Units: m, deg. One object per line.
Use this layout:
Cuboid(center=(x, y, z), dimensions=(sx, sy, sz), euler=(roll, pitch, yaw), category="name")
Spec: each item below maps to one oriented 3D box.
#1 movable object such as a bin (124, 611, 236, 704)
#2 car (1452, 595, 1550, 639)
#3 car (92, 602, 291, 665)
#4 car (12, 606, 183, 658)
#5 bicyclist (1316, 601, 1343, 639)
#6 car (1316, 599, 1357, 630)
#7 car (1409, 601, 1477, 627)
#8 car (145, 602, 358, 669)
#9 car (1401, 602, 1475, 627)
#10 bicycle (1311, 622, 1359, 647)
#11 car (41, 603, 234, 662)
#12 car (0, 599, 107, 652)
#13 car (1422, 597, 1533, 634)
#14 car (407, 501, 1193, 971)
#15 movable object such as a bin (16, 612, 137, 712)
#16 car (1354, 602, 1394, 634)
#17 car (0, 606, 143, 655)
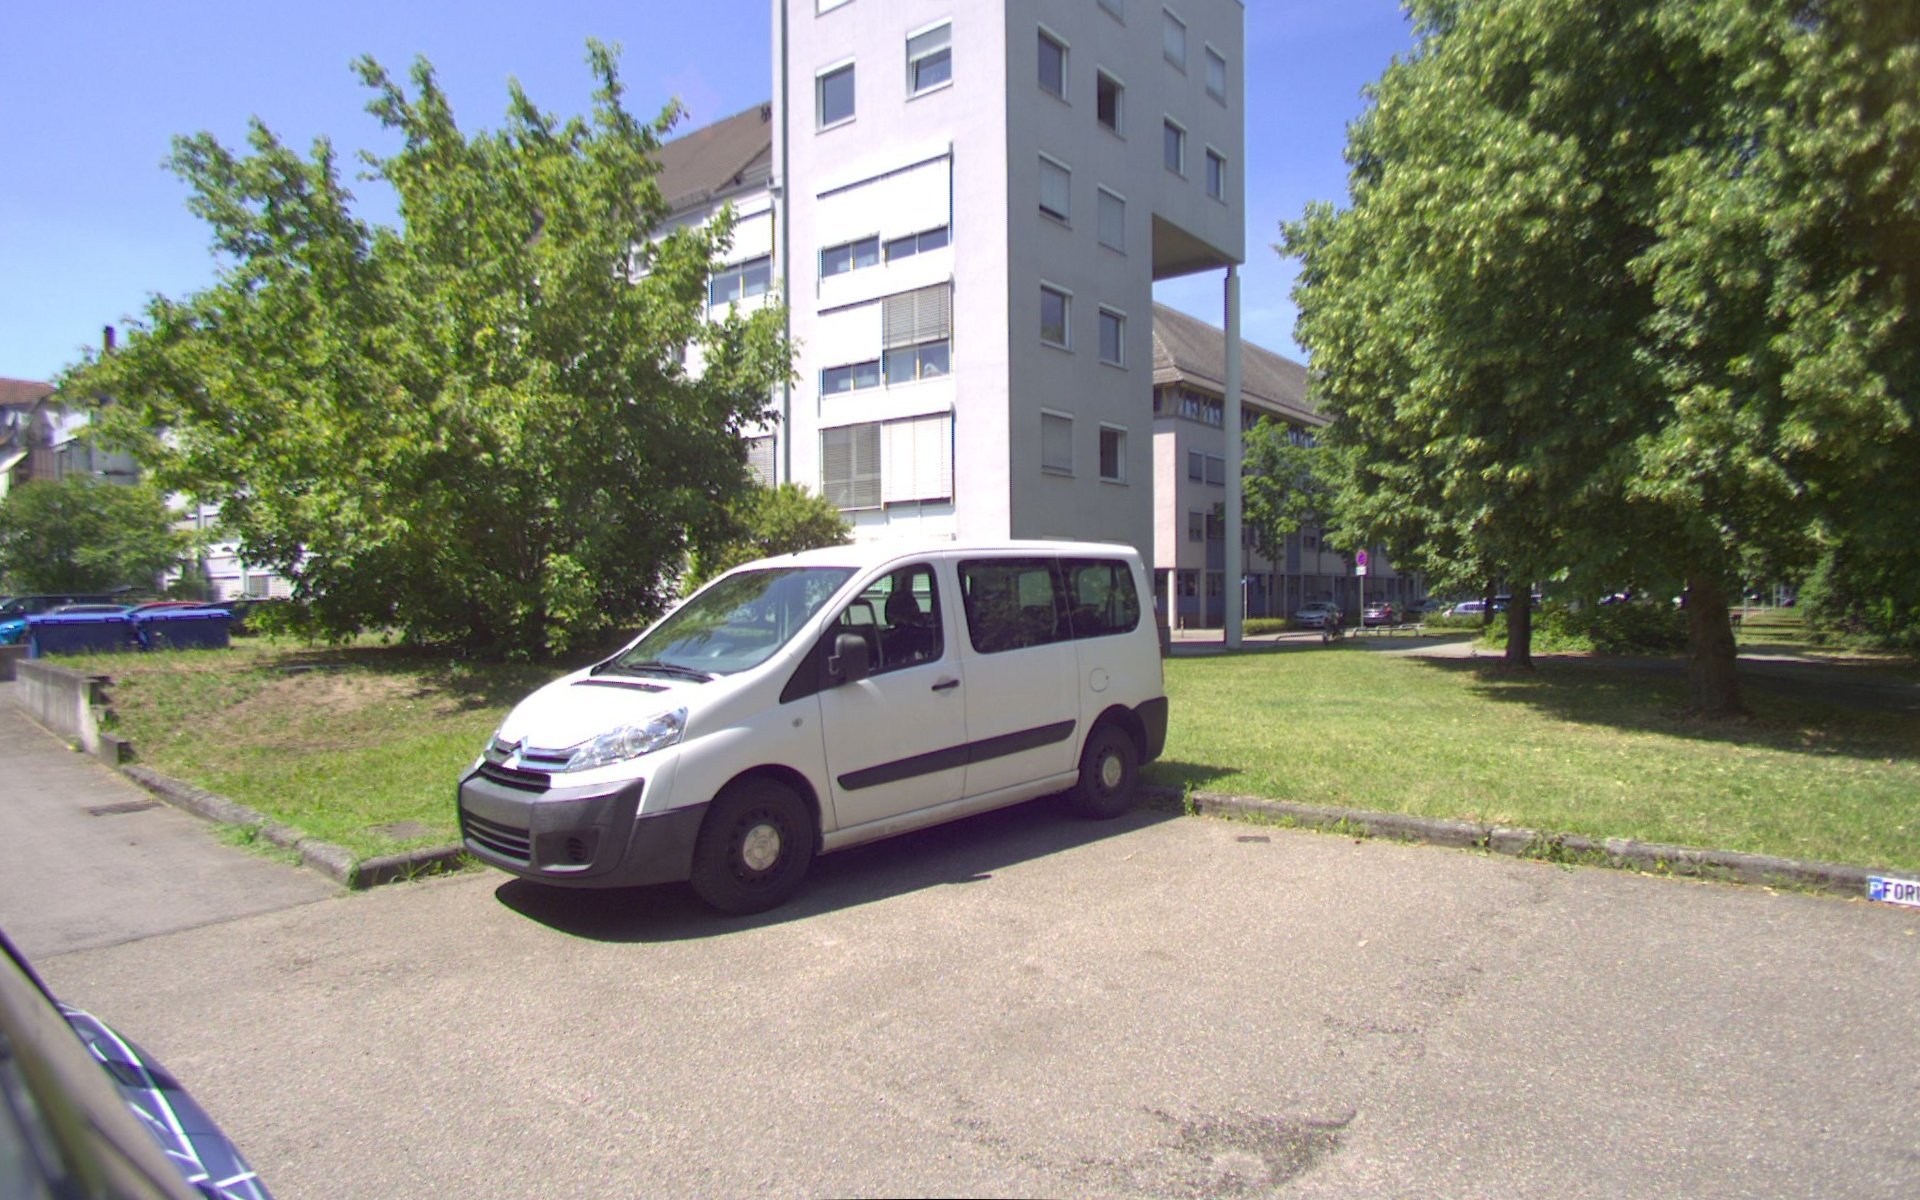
Cuboid(center=(-12.603, 0.888, 16.364), dimensions=(1.095, 1.399, 1.255), euler=(0, 0, 41), category="movable object such as a bin")
Cuboid(center=(26.561, 0.797, 49.741), dimensions=(3.996, 2.029, 1.974), euler=(0, 0, 39), category="car")
Cuboid(center=(-21.343, 0.871, 28.269), dimensions=(1.610, 1.580, 4.174), euler=(0, 0, 35), category="car")
Cuboid(center=(-29.182, 1.035, 34.362), dimensions=(1.610, 1.580, 4.174), euler=(0, 0, 35), category="car")
Cuboid(center=(10.451, 0.554, 28.627), dimensions=(0.518, 1.053, 0.515), euler=(-4, -3, 43), category="bicyclist")
Cuboid(center=(21.140, 0.772, 56.693), dimensions=(1.799, 1.615, 3.860), euler=(0, 0, 26), category="car")
Cuboid(center=(32.198, 0.908, 67.488), dimensions=(3.890, 1.643, 1.515), euler=(0, 0, 39), category="car")
Cuboid(center=(-18.808, 0.874, 27.068), dimensions=(1.610, 1.580, 4.393), euler=(0, 0, 35), category="car")
Cuboid(center=(30.735, 0.912, 65.092), dimensions=(3.996, 1.541, 1.723), euler=(0, 0, 39), category="car")
Cuboid(center=(10.708, 0.980, 28.893), dimensions=(0.734, 0.646, 1.594), euler=(-4, -2, 42), category="bicycle")
Cuboid(center=(-24.244, 0.899, 29.962), dimensions=(1.610, 1.580, 4.174), euler=(0, 0, 35), category="car")
Cuboid(center=(-34.470, 0.916, 37.404), dimensions=(2.006, 1.837, 4.174), euler=(0, 0, 36), category="car")
Cuboid(center=(24.007, 0.676, 47.024), dimensions=(4.337, 1.622, 1.908), euler=(0, 0, 39), category="car")
Cuboid(center=(-0.631, 0.528, 6.554), dimensions=(2.068, 1.897, 4.794), euler=(0, 1, 43), category="car")
Cuboid(center=(-13.422, 0.897, 15.376), dimensions=(1.095, 1.399, 1.255), euler=(0, 0, 41), category="movable object such as a bin")
Cuboid(center=(22.412, 0.944, 54.731), dimensions=(1.799, 1.615, 3.860), euler=(0, 0, 26), category="car")
Cuboid(center=(-31.868, 1.049, 35.926), dimensions=(1.610, 1.580, 4.174), euler=(0, 0, 35), category="car")
